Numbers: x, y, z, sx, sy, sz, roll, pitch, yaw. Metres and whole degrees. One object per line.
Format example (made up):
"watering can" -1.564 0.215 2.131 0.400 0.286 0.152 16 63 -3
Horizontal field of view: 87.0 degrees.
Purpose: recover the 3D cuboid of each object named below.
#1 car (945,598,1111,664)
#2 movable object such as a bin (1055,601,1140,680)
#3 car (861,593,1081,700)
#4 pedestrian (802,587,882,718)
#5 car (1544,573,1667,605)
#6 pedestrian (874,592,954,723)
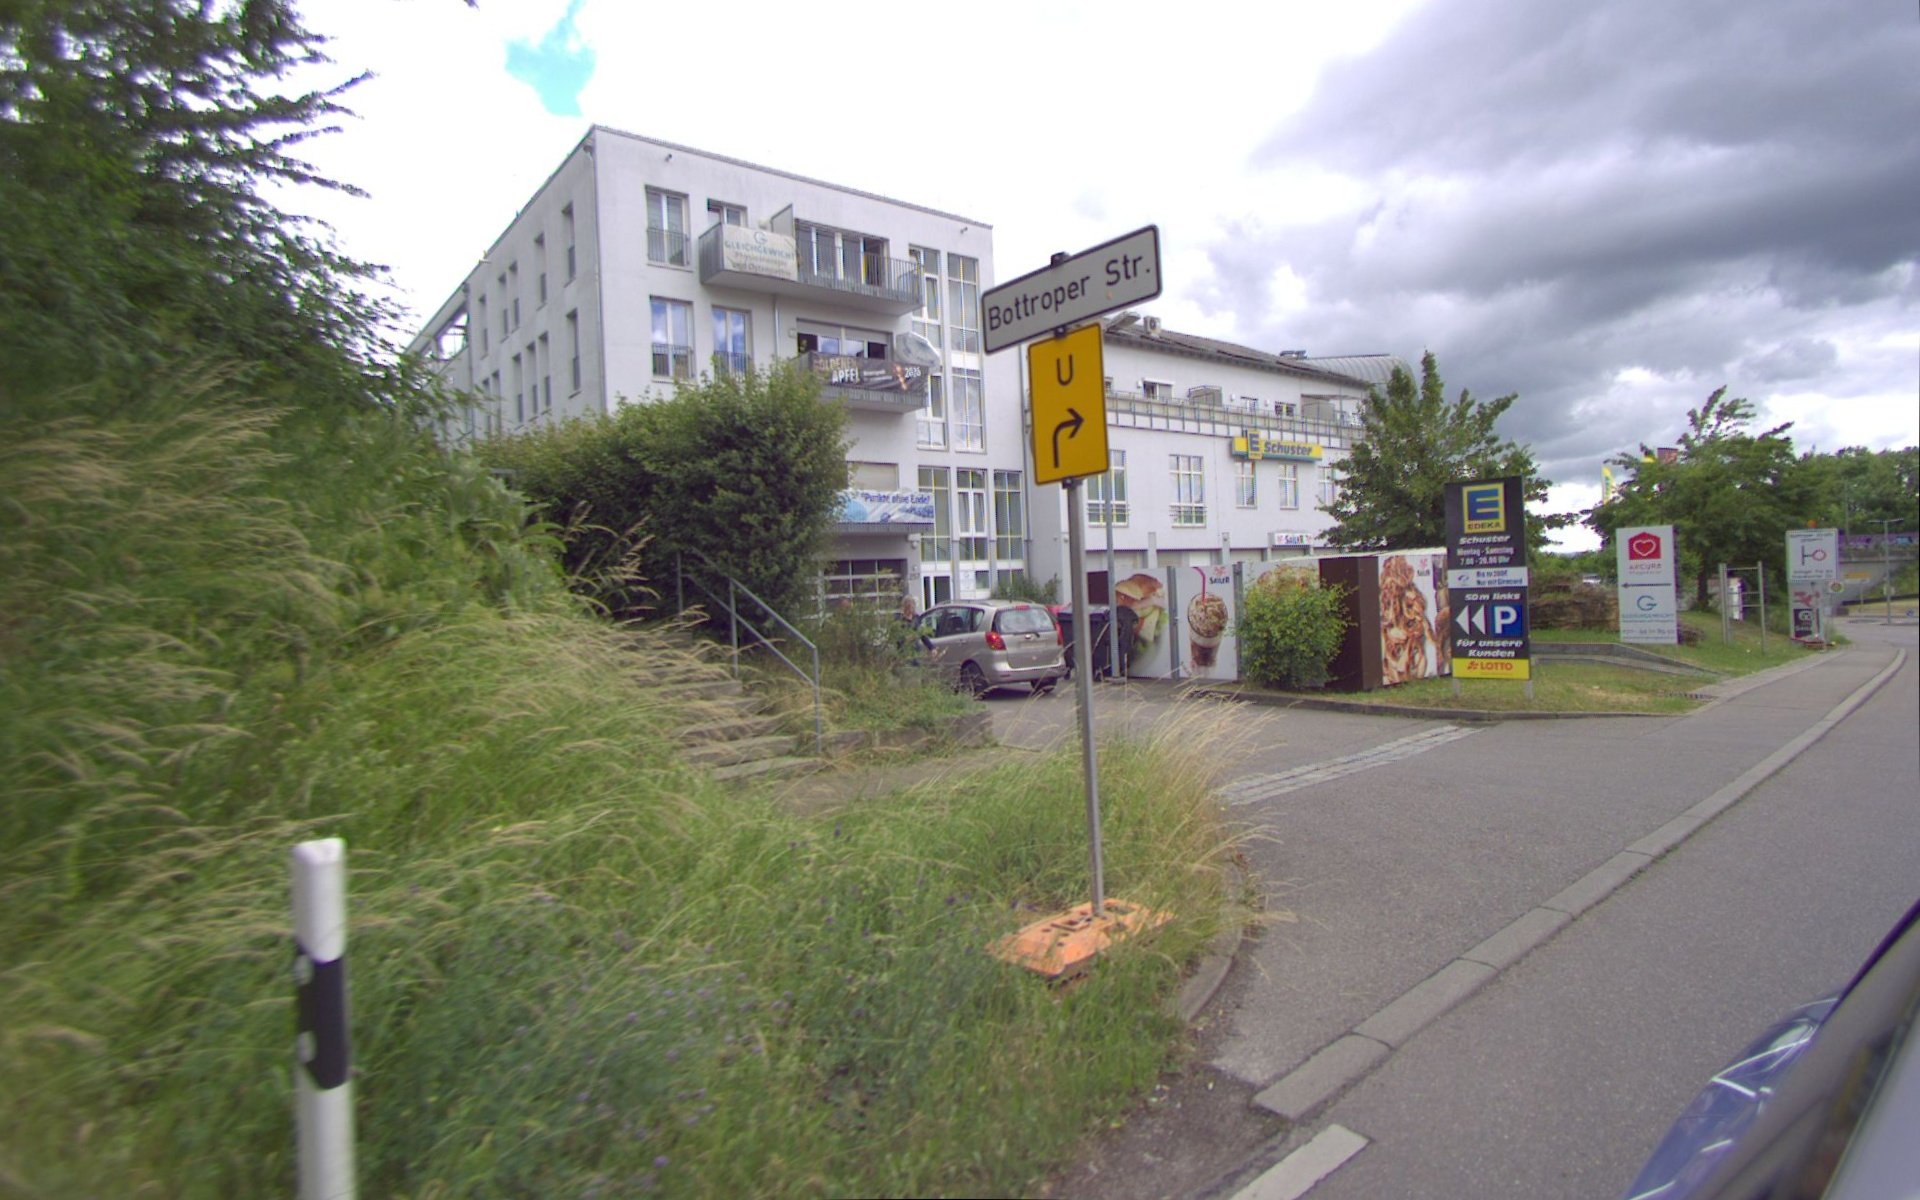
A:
"car" 1.566 0.762 24.922 1.727 1.468 4.251 0 -2 -36
"movable object such as a bin" 2.632 0.747 19.439 1.039 1.431 1.247 0 0 -40
"car" 0.059 0.721 18.089 1.754 1.613 4.254 -2 1 -35
"pedestrian" -1.604 0.681 13.699 0.790 1.711 0.792 0 -1 -36
"car" 31.007 -0.507 48.738 1.686 1.398 4.702 -2 1 -41
"pedestrian" -0.624 0.744 13.607 0.790 1.679 0.733 0 -1 -36
